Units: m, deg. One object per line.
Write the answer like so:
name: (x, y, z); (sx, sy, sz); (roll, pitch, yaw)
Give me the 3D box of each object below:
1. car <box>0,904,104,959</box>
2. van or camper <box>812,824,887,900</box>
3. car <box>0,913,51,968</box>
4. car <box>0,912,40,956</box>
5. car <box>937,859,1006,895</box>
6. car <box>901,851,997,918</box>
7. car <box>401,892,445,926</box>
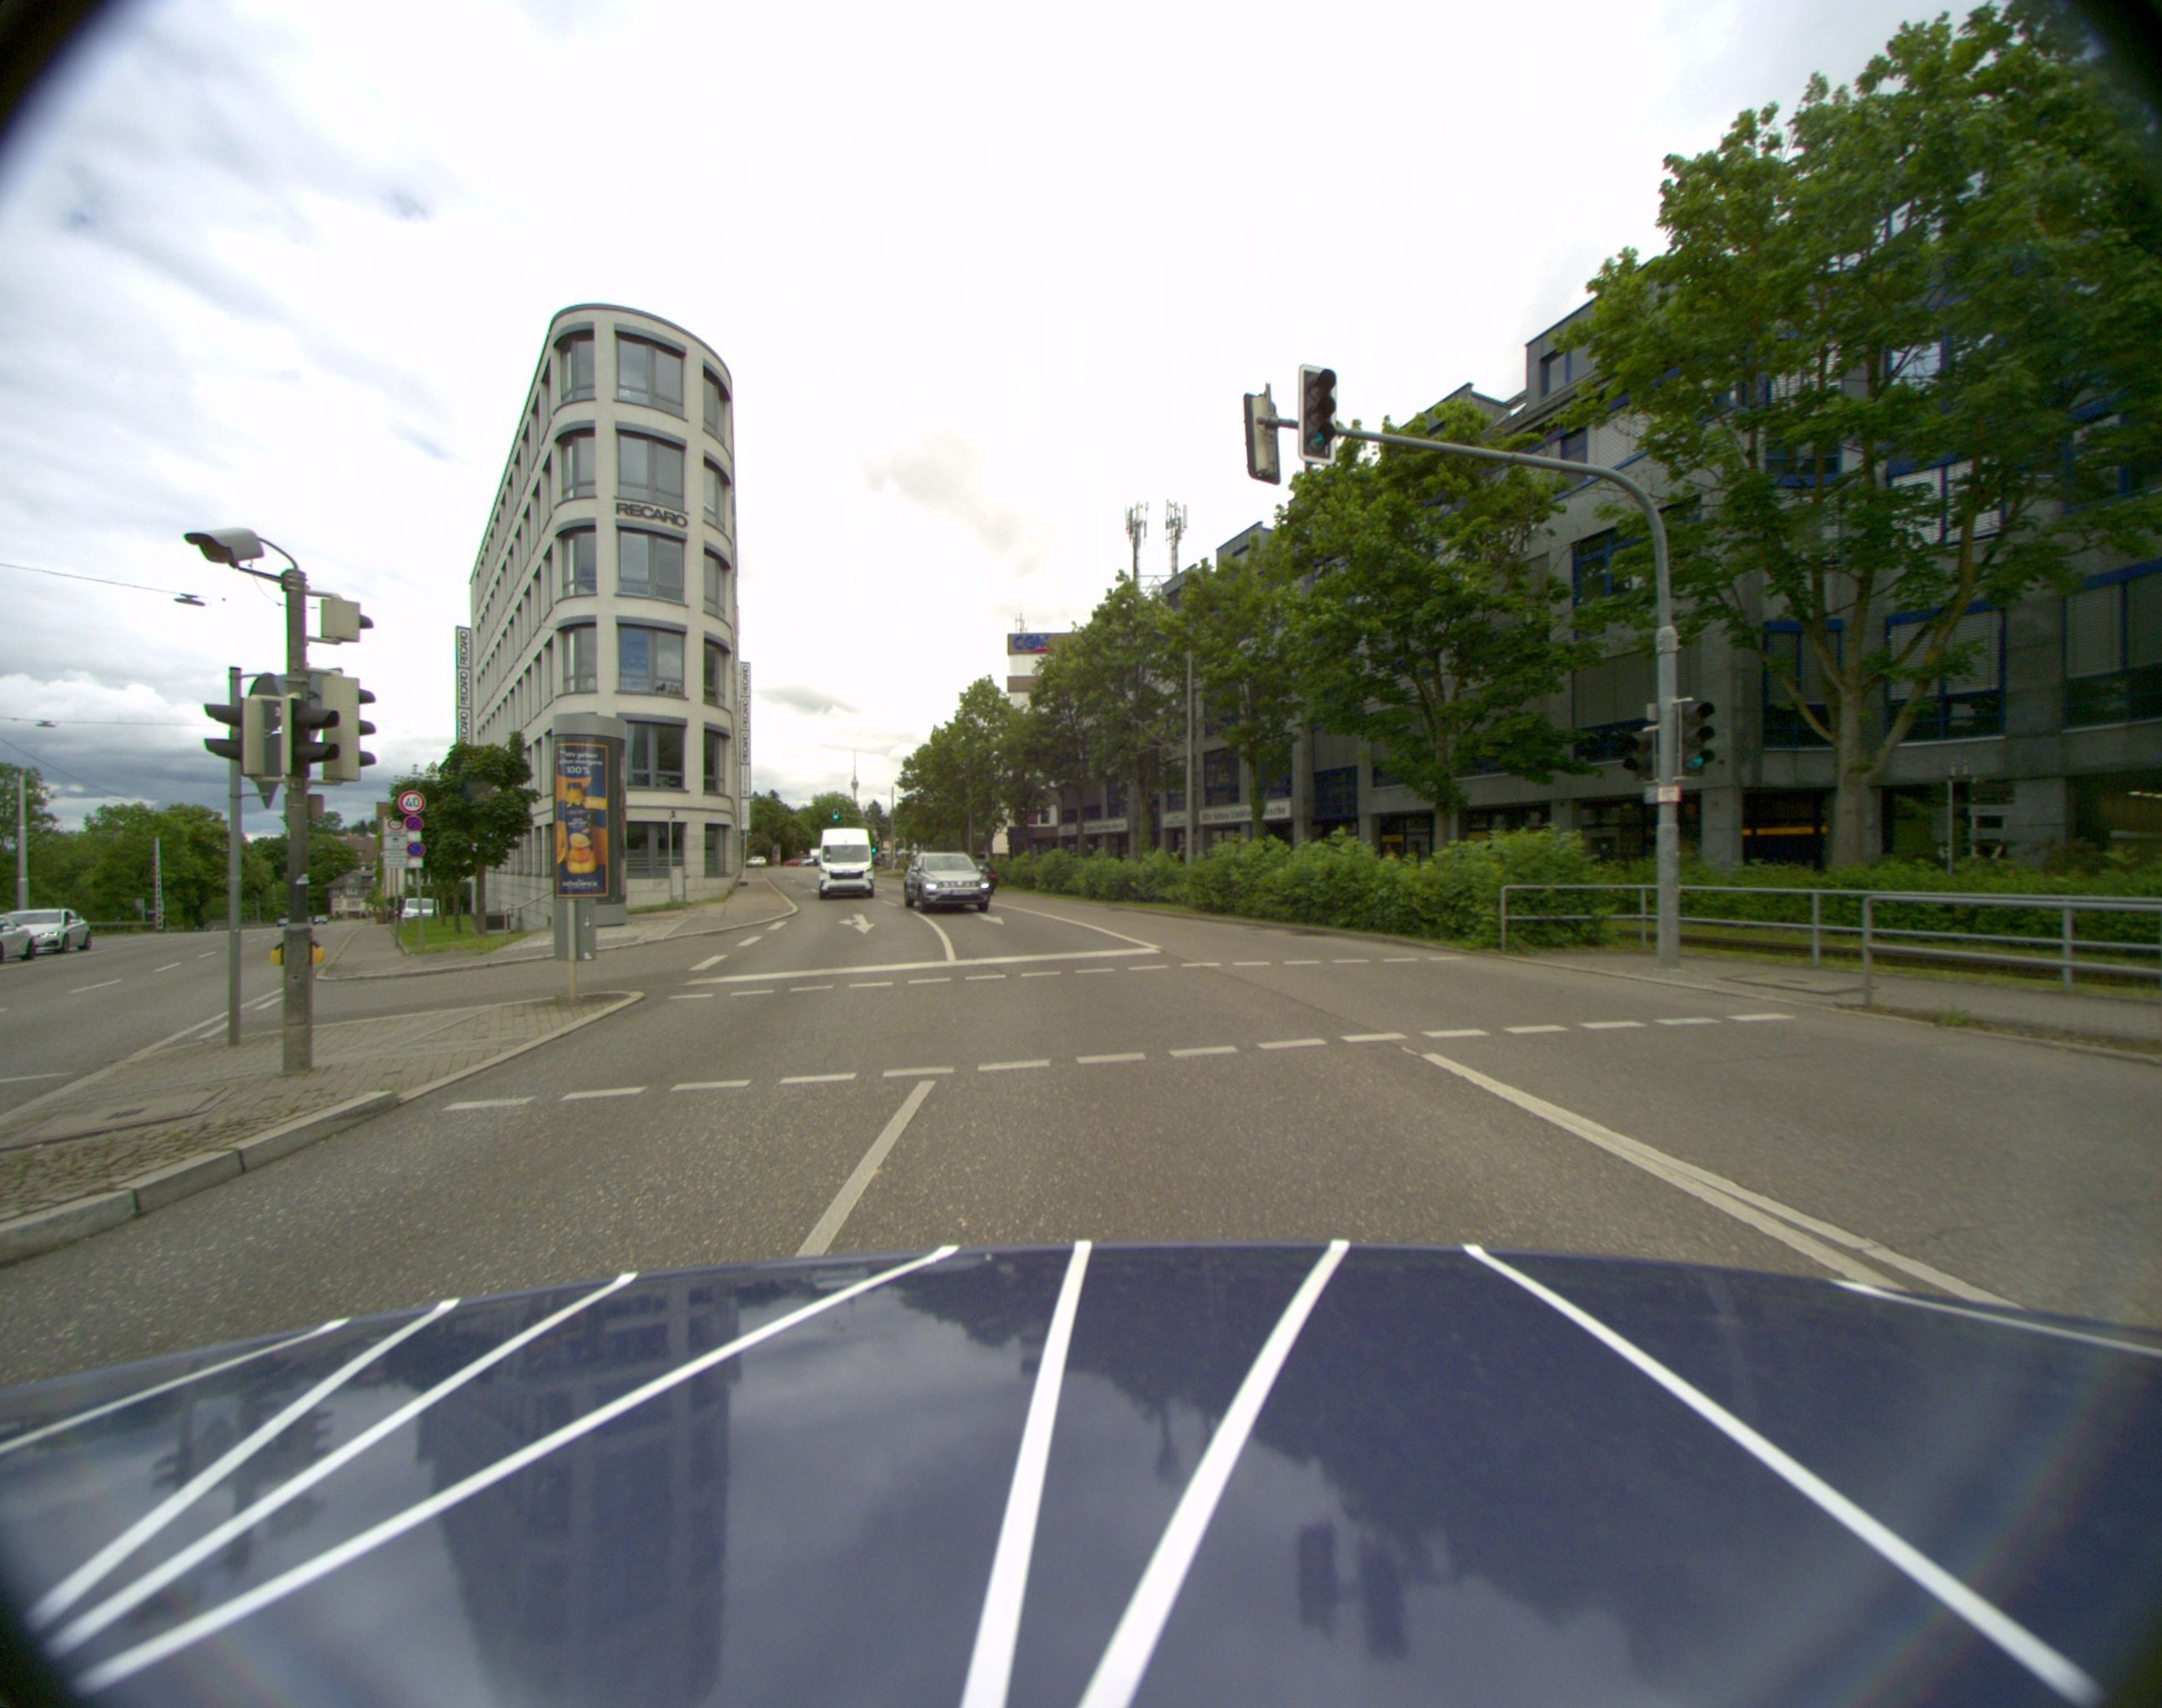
car: (-35.953, 2.647, 26.361); (1.740, 1.559, 4.315); (-4, 1, -42)
van or camper: (-9.375, 0.304, 30.349); (2.114, 2.674, 6.287); (-2, 1, -23)
car: (-31.262, 2.489, 21.434); (1.759, 1.368, 4.276); (-2, 0, -42)
car: (-39.443, 2.921, 27.086); (1.689, 1.432, 3.974); (-3, 1, -38)
car: (-4.805, 0.935, 32.735); (1.853, 1.428, 4.696); (1, 0, -22)
car: (-3.861, 0.776, 21.600); (1.837, 1.636, 4.318); (-2, 1, -21)
car: (-45.458, 3.754, 52.533); (2.182, 2.002, 3.989); (-1, 1, -40)
